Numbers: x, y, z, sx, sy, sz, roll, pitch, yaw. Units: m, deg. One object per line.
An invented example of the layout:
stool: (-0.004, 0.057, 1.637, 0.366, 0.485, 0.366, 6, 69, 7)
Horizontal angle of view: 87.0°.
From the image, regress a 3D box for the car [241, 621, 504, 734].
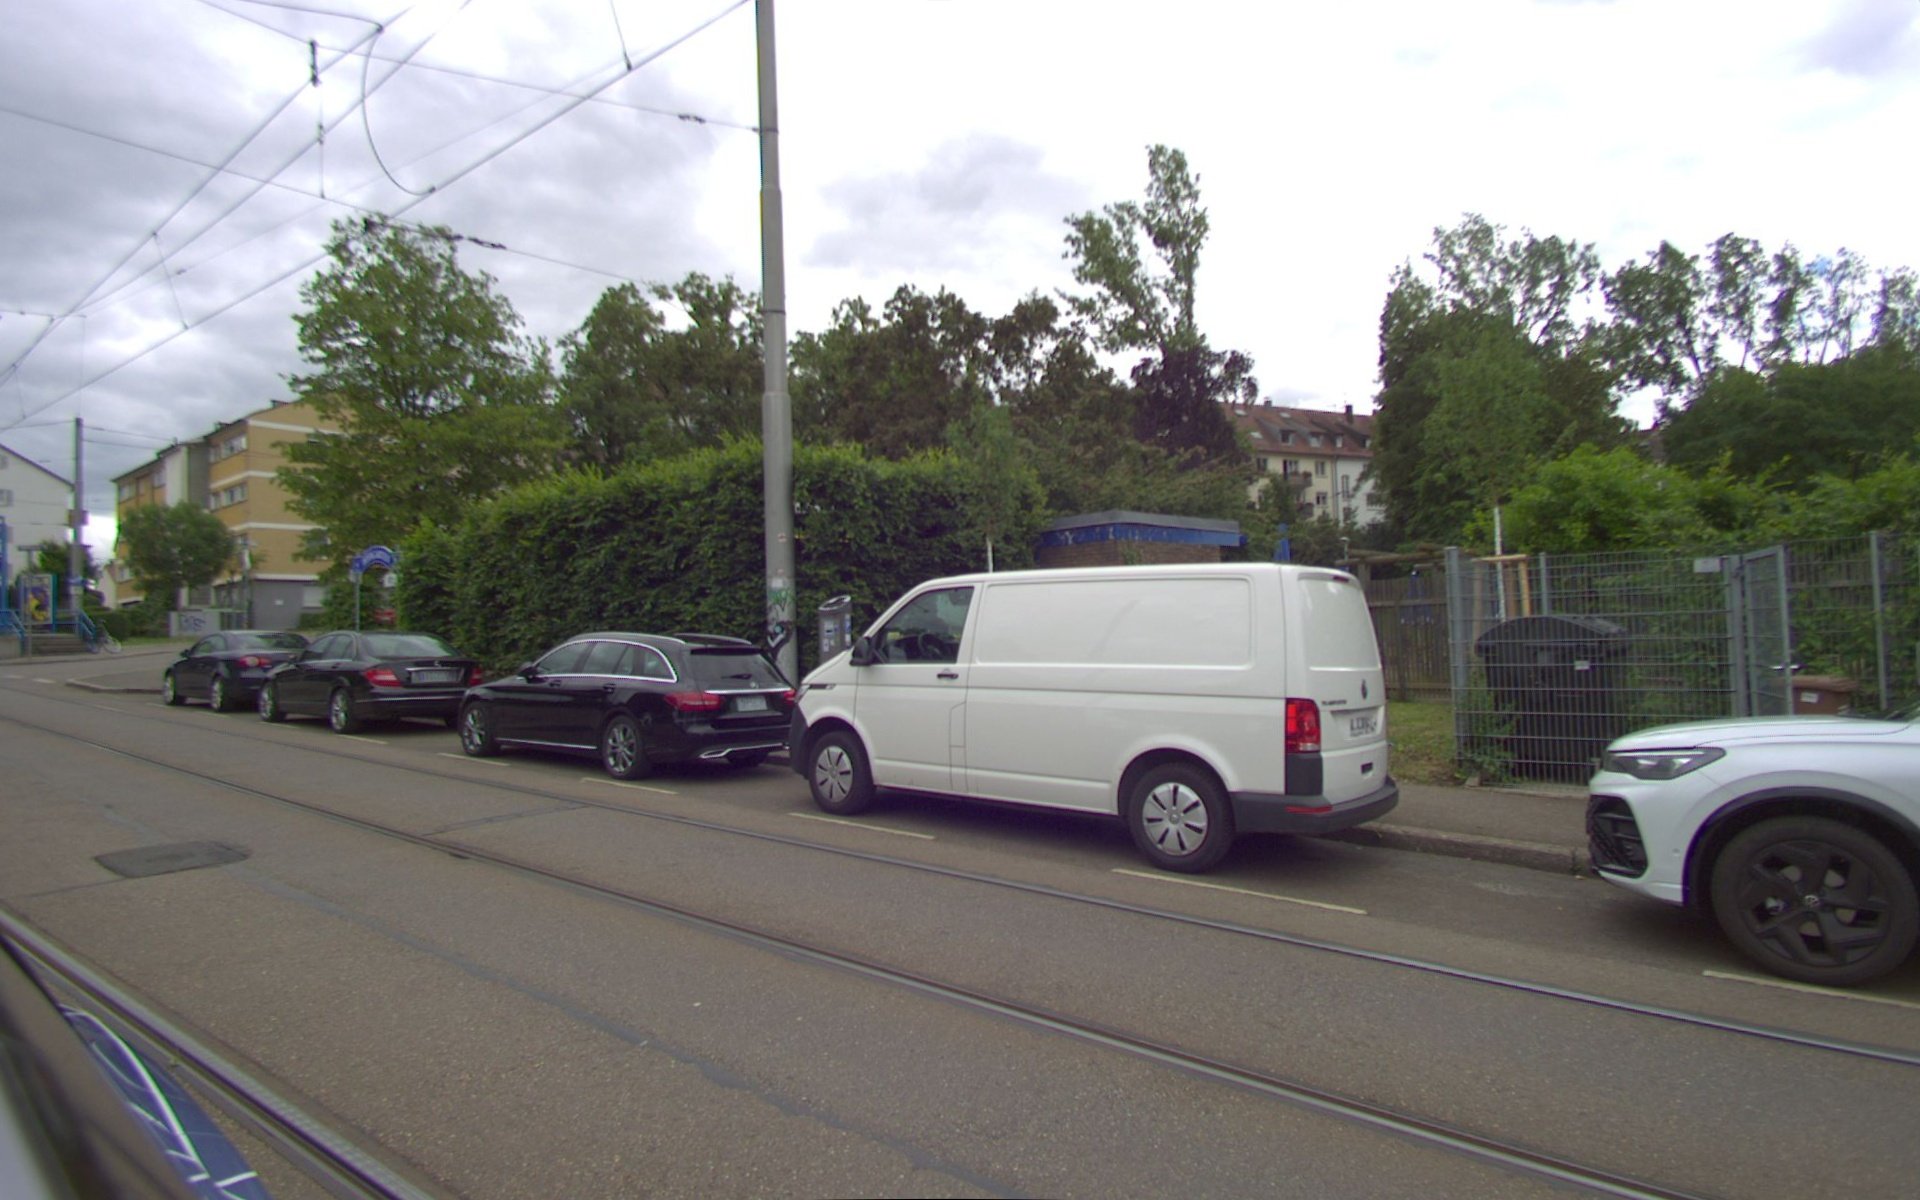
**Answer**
car: (-8.848, 1.048, 15.102, 4.433, 1.397, 1.823, 0, -1, 37)

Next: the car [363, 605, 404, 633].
car: (-32.115, 1.040, 56.475, 1.810, 1.475, 4.013, 0, -1, -27)

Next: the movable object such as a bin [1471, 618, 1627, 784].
movable object such as a bin: (5.104, 0.825, 8.772, 1.050, 1.307, 0.727, -1, 0, 39)

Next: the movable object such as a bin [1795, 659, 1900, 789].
movable object such as a bin: (7.283, 0.987, 8.333, 0.605, 0.947, 0.727, -1, 1, 39)

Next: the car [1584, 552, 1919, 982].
car: (5.315, 0.684, 4.084, 4.625, 1.699, 1.950, 0, -1, 37)

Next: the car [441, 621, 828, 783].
car: (-3.723, 0.966, 11.199, 4.510, 1.397, 1.823, 0, -1, 37)

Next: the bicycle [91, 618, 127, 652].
bicycle: (-30.754, 1.267, 36.570, 1.486, 1.190, 0.705, 0, -1, 39)

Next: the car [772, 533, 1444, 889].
car: (0.919, 0.620, 7.713, 4.727, 1.927, 1.950, 0, -1, 37)

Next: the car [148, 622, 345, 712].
car: (-13.156, 1.148, 18.592, 4.155, 1.415, 1.773, 0, -1, 37)
